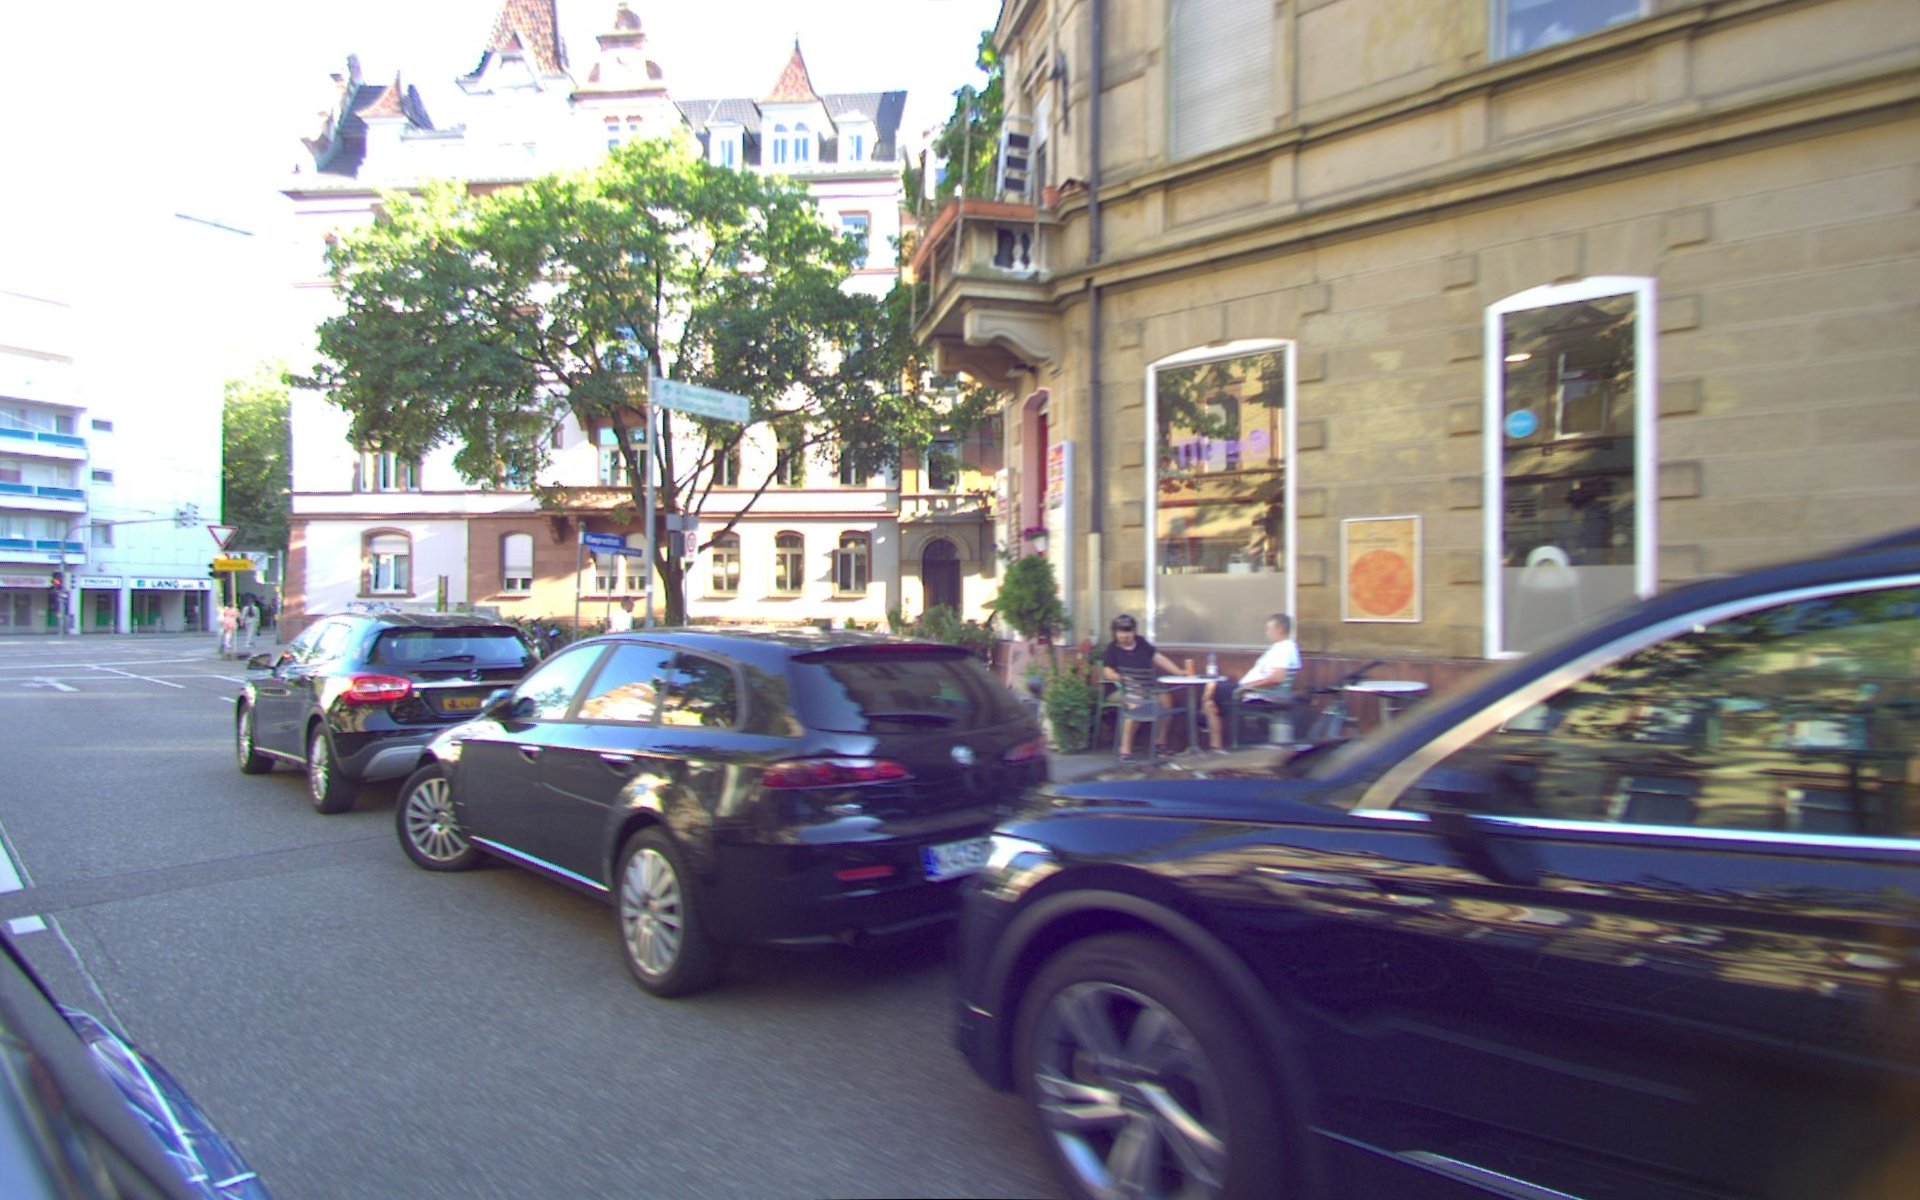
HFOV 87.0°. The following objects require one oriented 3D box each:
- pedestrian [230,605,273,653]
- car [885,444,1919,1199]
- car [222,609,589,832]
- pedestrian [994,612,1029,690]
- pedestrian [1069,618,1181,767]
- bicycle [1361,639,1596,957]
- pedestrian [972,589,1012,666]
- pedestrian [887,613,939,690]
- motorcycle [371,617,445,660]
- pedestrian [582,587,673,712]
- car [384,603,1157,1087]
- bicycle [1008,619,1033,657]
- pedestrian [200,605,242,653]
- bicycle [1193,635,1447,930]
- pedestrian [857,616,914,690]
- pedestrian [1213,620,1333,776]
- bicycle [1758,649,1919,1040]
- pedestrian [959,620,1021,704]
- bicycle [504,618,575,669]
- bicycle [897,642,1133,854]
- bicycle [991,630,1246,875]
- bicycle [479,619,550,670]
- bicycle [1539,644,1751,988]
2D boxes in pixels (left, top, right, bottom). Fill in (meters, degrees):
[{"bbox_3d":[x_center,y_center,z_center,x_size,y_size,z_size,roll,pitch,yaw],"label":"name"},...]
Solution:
[{"bbox_3d":[-25.643,1.039,36.651,0.857,1.710,0.984,0,-1,-2],"label":"pedestrian"},{"bbox_3d":[2.037,0.612,1.876,4.551,1.612,1.739,-2,-3,43],"label":"car"},{"bbox_3d":[-5.042,0.857,8.925,1.738,1.499,4.141,2,-2,-45],"label":"car"},{"bbox_3d":[0.929,0.902,18.214,0.432,1.377,0.477,-2,-2,31],"label":"pedestrian"},{"bbox_3d":[1.494,0.800,9.145,0.755,1.268,0.718,-1,-1,38],"label":"pedestrian"},{"bbox_3d":[2.496,0.793,4.753,0.528,1.137,1.847,-1,0,42],"label":"bicycle"},{"bbox_3d":[0.749,0.645,23.777,0.563,1.784,0.767,3,-3,-45],"label":"pedestrian"},{"bbox_3d":[-0.886,0.962,19.217,0.724,1.422,0.749,-1,-1,28],"label":"pedestrian"},{"bbox_3d":[-17.126,1.164,31.456,0.835,1.275,2.100,0,-1,14],"label":"motorcycle"},{"bbox_3d":[-5.310,0.770,16.214,0.840,1.913,1.106,-1,-1,32],"label":"pedestrian"},{"bbox_3d":[-1.372,0.788,5.319,1.738,1.463,4.553,2,-2,-45],"label":"car"},{"bbox_3d":[1.983,1.200,32.886,0.742,1.189,3.132,0,-1,5],"label":"bicycle"},{"bbox_3d":[-26.605,1.040,36.450,0.856,1.710,0.985,0,-1,-6],"label":"pedestrian"},{"bbox_3d":[1.855,0.783,5.036,0.528,1.137,1.847,-1,0,42],"label":"bicycle"},{"bbox_3d":[-1.340,0.932,18.302,0.740,1.299,0.738,-1,-1,30],"label":"pedestrian"},{"bbox_3d":[2.616,0.776,8.459,0.755,1.223,0.718,-1,-1,38],"label":"pedestrian"},{"bbox_3d":[3.546,0.813,3.976,0.528,1.137,1.847,-1,0,42],"label":"bicycle"},{"bbox_3d":[0.454,0.912,15.271,0.751,1.223,0.723,0,-1,21],"label":"pedestrian"},{"bbox_3d":[-10.700,1.074,25.708,2.960,1.205,0.540,-1,-1,44],"label":"bicycle"},{"bbox_3d":[0.425,0.895,6.727,0.528,1.137,1.847,-1,0,42],"label":"bicycle"},{"bbox_3d":[0.980,0.776,5.846,0.528,1.137,1.847,-1,0,42],"label":"bicycle"},{"bbox_3d":[-11.137,1.069,25.240,2.960,1.205,0.540,-1,-1,44],"label":"bicycle"},{"bbox_3d":[3.084,0.807,4.477,0.528,1.137,1.847,-1,0,42],"label":"bicycle"}]
